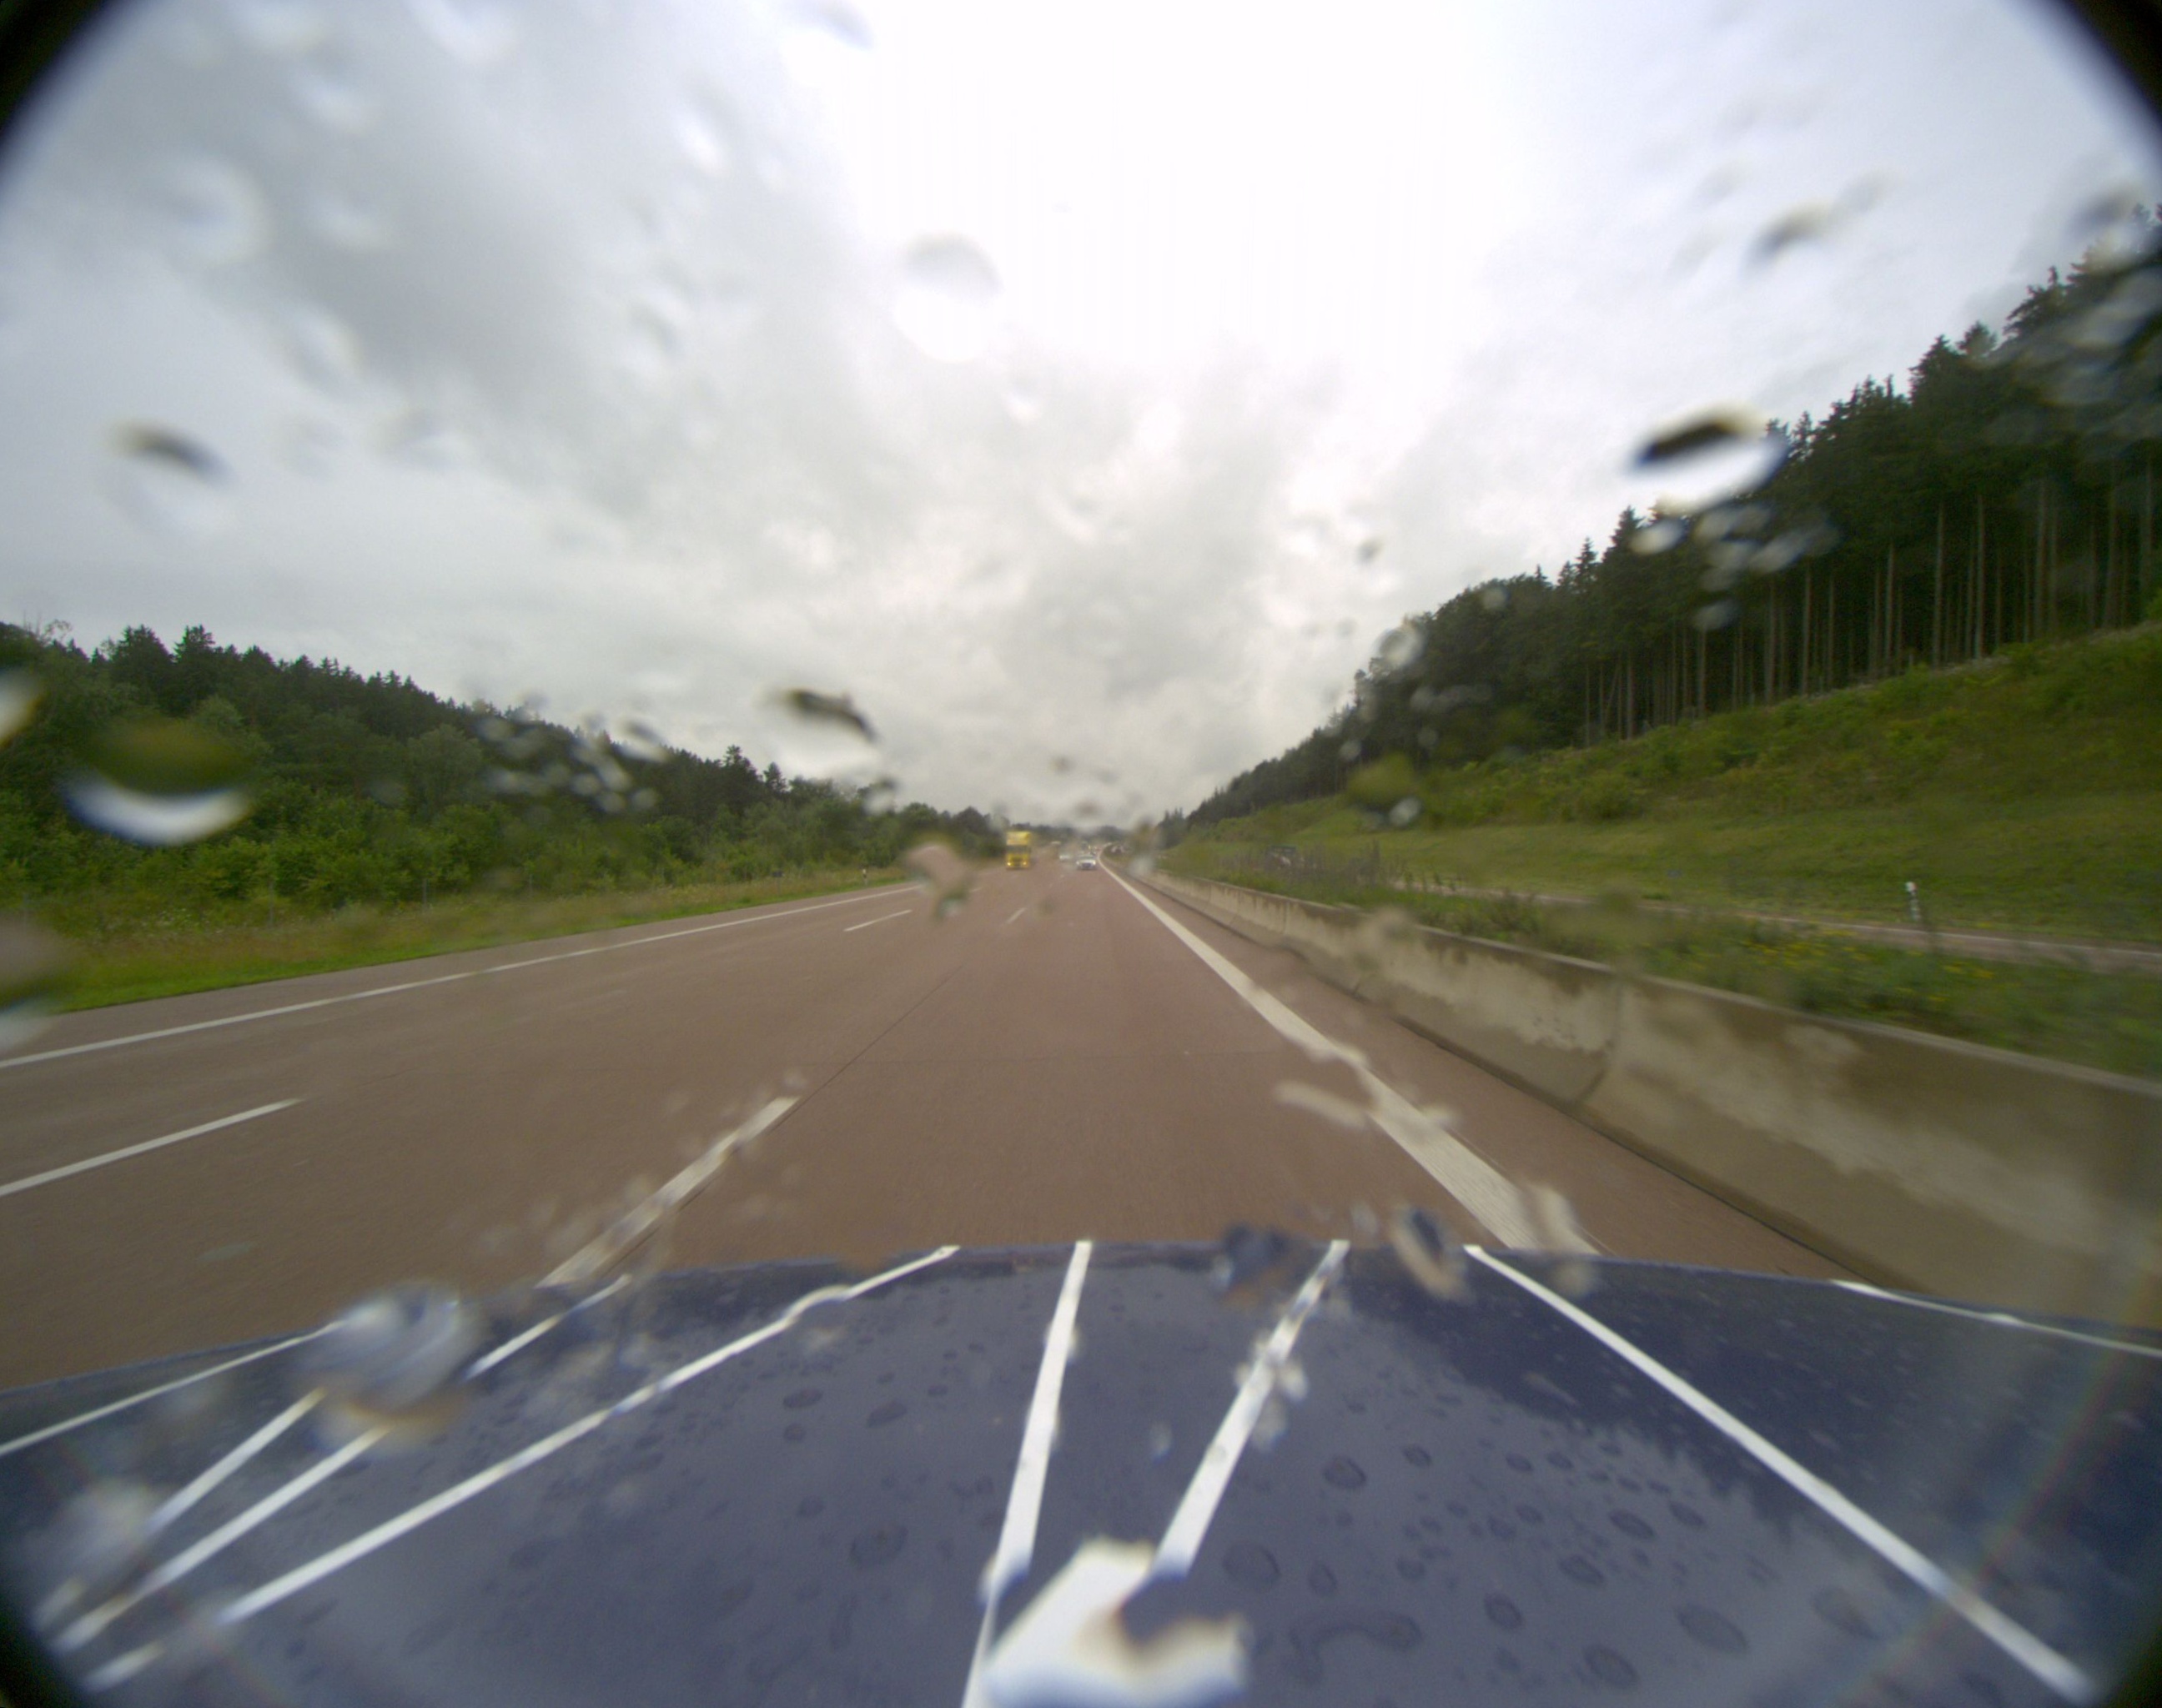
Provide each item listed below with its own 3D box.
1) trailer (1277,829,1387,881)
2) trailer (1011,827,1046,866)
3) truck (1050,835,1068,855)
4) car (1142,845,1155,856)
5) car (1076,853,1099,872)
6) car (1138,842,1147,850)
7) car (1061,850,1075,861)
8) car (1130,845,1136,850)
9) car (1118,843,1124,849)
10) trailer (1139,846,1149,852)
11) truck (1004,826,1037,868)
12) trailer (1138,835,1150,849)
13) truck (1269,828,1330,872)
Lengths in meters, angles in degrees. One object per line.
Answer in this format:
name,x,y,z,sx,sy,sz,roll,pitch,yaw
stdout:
trailer,16.766,-0.107,52.263,2.845,2.981,14.432,-2,1,1
trailer,-6.161,-1.040,91.115,2.571,4.205,14.078,-2,1,2
truck,-5.116,-2.247,179.171,3.190,4.349,14.702,-2,1,2
car,13.212,-0.696,148.862,2.043,2.046,5.069,0,2,1
car,0.631,0.773,72.105,1.998,1.623,4.930,-2,1,2
car,16.388,-2.043,203.960,1.998,2.002,5.673,-2,1,1
car,-2.118,0.289,126.514,1.998,1.623,4.930,-2,1,2
car,16.957,-2.054,247.177,1.730,1.520,4.116,-2,1,1
car,13.973,-2.866,263.523,1.895,1.770,4.938,-2,1,3
trailer,16.399,-1.262,198.206,2.210,0.992,6.849,-11,1,1
truck,-6.503,-0.809,82.429,2.610,4.190,6.249,-2,2,2
trailer,21.359,-4.032,258.360,2.926,4.315,13.577,-5,1,2
truck,16.896,-0.361,59.297,2.870,3.154,6.493,-2,2,1
